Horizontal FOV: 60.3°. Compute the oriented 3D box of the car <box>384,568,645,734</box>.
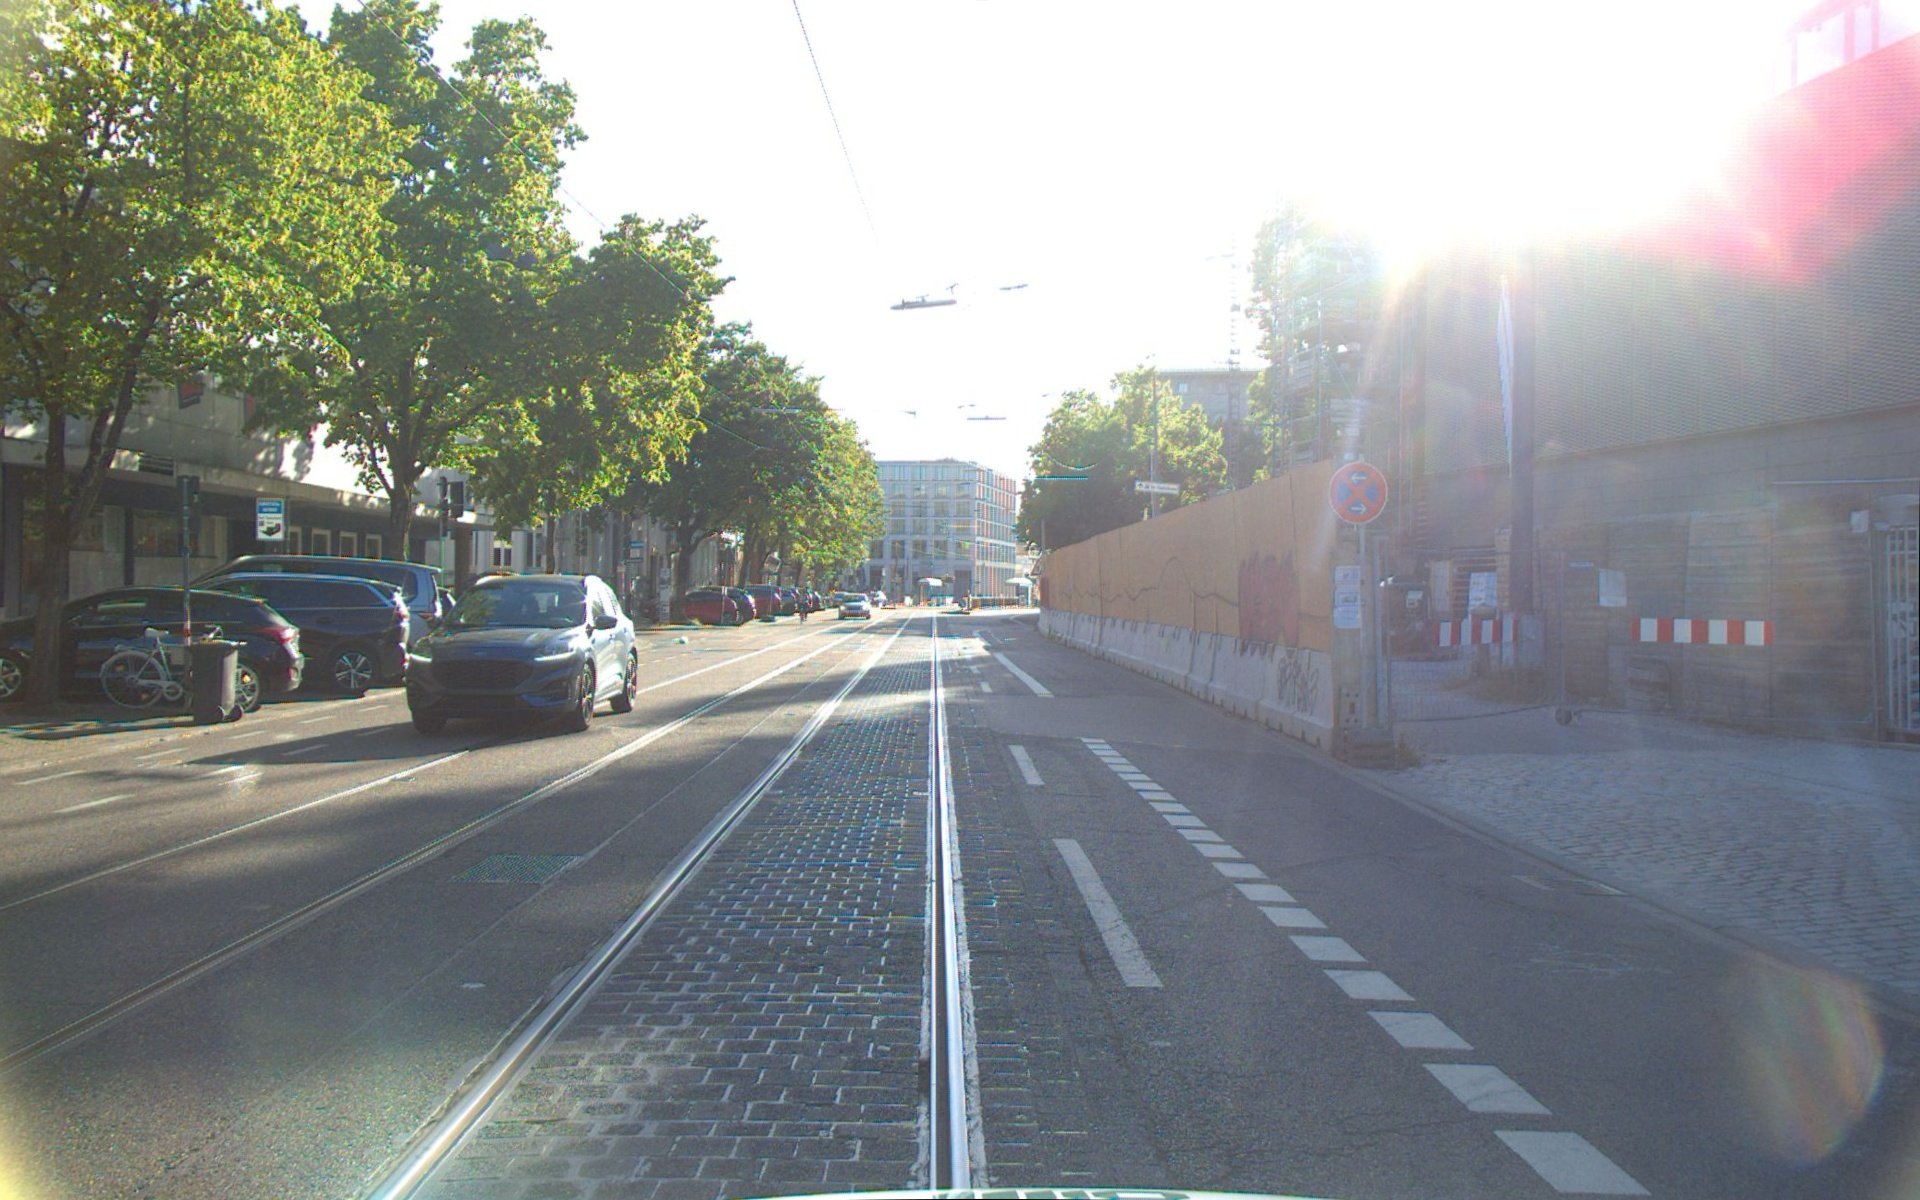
[{"bbox_3d":[-4.866,0.504,18.690,1.889,1.658,4.247,0,0,-2],"label":"car"}]

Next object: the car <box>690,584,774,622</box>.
[{"bbox_3d":[-10.710,0.115,77.762,3.645,1.751,1.591,0,0,-36],"label":"car"}]

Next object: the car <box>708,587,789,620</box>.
[{"bbox_3d":[-11.607,0.170,90.807,4.113,1.751,1.569,1,0,-29],"label":"car"}]

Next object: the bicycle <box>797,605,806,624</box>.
[{"bbox_3d":[-7.876,0.714,82.416,0.440,0.896,1.899,0,0,-5],"label":"bicycle"}]

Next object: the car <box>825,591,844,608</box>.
[{"bbox_3d":[-11.942,-0.054,156.993,1.541,1.516,3.999,0,0,-1],"label":"car"}]

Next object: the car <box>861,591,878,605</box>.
[{"bbox_3d":[-10.139,-0.178,185.567,1.525,1.557,4.002,0,0,3],"label":"car"}]

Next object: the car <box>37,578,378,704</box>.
[{"bbox_3d":[-9.519,0.478,21.264,3.797,1.502,1.834,0,0,-19],"label":"car"}]

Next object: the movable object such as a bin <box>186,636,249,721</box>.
[{"bbox_3d":[-8.614,0.911,19.198,0.566,0.929,0.573,2,1,-17],"label":"movable object such as a bin"}]

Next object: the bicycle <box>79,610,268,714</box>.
[{"bbox_3d":[-9.305,0.740,19.641,1.936,1.164,0.490,2,0,-20],"label":"bicycle"}]

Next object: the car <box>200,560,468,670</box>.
[{"bbox_3d":[-11.003,0.275,29.127,4.228,1.695,1.897,3,-1,-25],"label":"car"}]

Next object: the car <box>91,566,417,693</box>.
[{"bbox_3d":[-10.104,0.407,23.952,4.176,1.714,1.799,0,0,-22],"label":"car"}]

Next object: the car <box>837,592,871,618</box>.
[{"bbox_3d":[-5.935,0.260,93.057,1.674,1.461,4.171,0,0,0],"label":"car"}]

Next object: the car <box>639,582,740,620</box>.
[{"bbox_3d":[-11.349,0.048,69.412,3.868,1.478,1.618,2,-1,-35],"label":"car"}]

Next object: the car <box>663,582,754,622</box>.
[{"bbox_3d":[-11.037,0.076,72.717,3.645,1.751,1.591,0,0,-36],"label":"car"}]

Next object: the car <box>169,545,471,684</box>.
[{"bbox_3d":[-10.205,0.244,26.546,4.294,2.021,1.936,2,0,-23],"label":"car"}]

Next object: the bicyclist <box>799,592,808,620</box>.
[{"bbox_3d":[-7.805,0.280,82.423,0.448,1.402,0.640,0,0,-6],"label":"bicyclist"}]
